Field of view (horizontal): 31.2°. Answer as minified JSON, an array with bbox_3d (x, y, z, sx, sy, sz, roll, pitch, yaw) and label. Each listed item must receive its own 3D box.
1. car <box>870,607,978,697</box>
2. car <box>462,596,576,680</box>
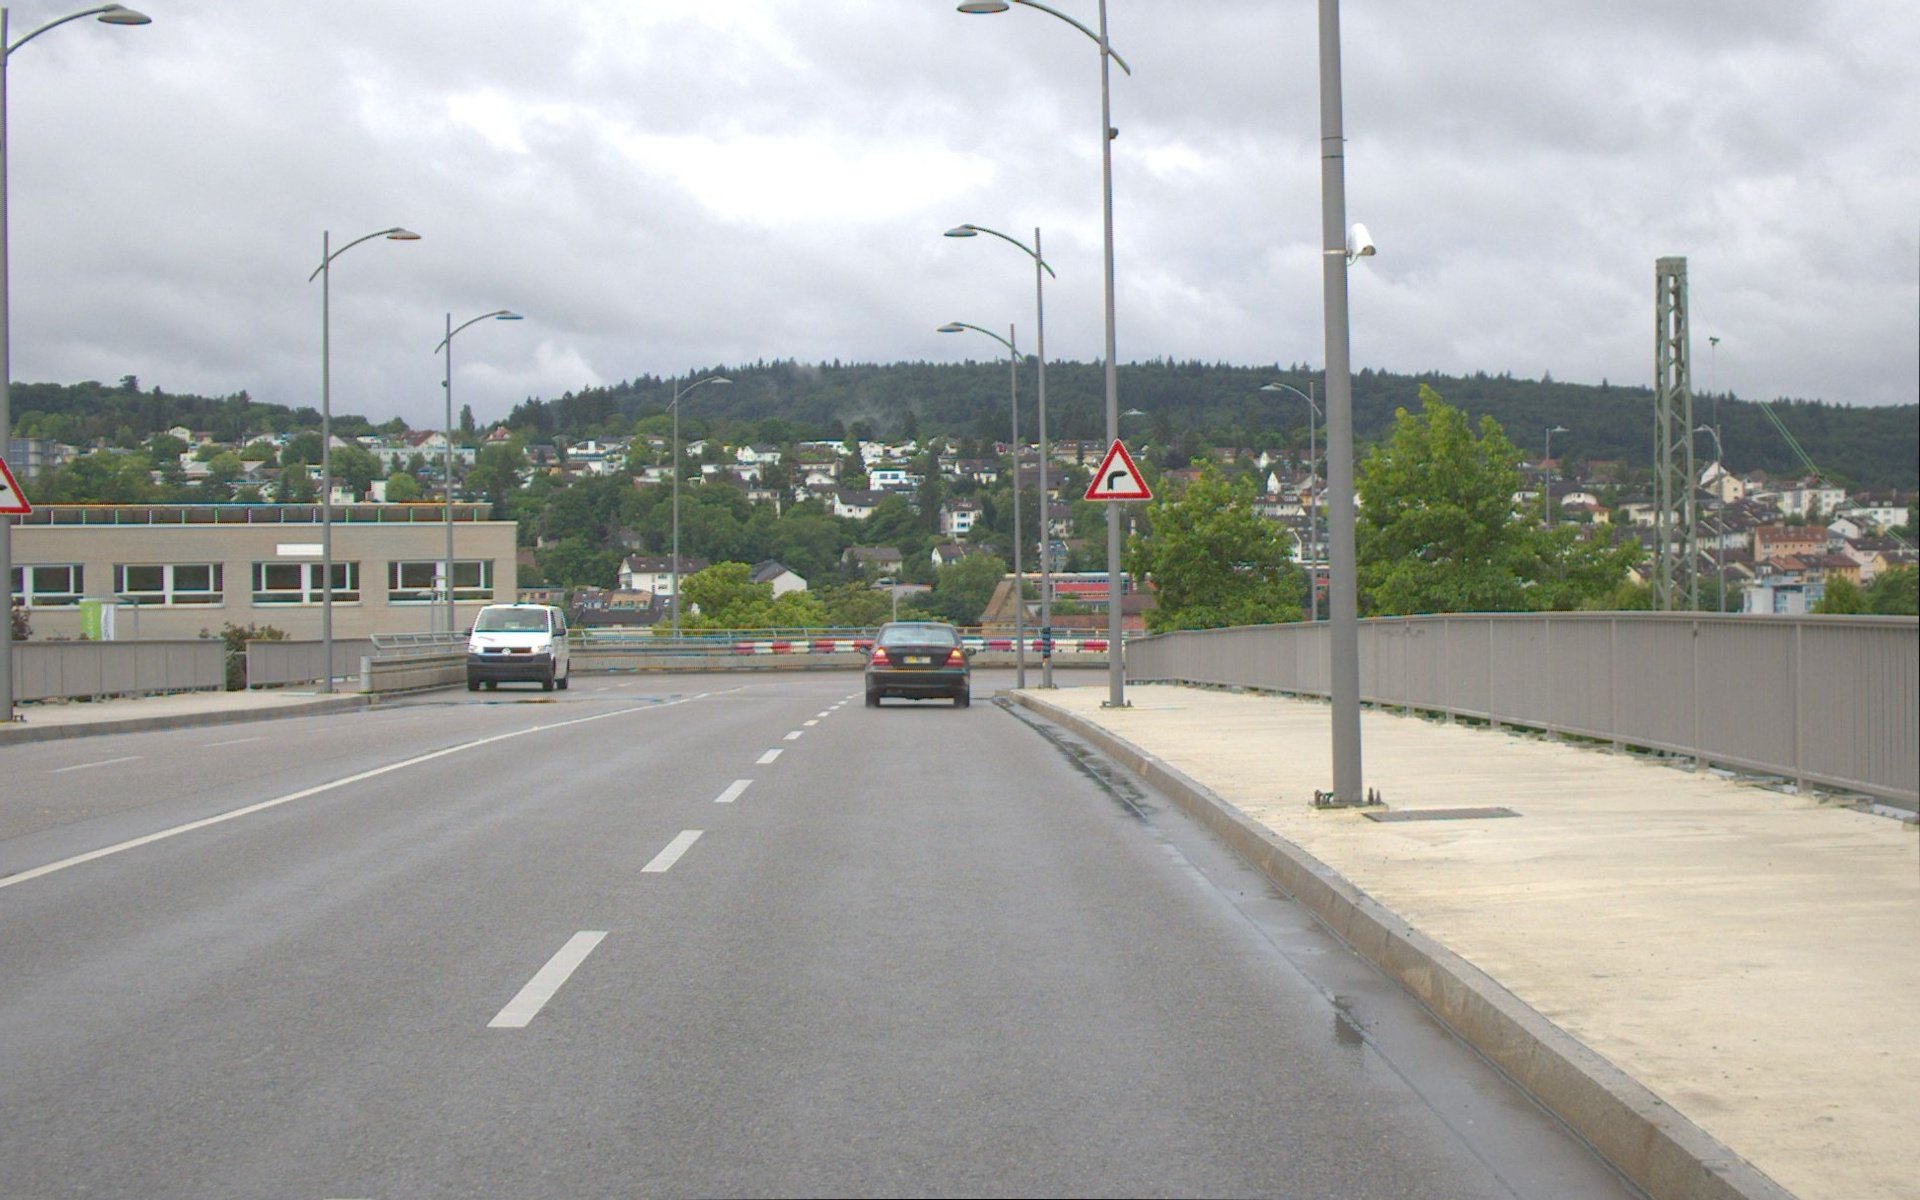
[{"bbox_3d":[-0.605,0.862,56.593,1.706,1.415,3.725,1,-1,-1],"label":"car"},{"bbox_3d":[-9.839,0.880,76.961,1.886,1.816,4.958,0,-1,0],"label":"car"}]
